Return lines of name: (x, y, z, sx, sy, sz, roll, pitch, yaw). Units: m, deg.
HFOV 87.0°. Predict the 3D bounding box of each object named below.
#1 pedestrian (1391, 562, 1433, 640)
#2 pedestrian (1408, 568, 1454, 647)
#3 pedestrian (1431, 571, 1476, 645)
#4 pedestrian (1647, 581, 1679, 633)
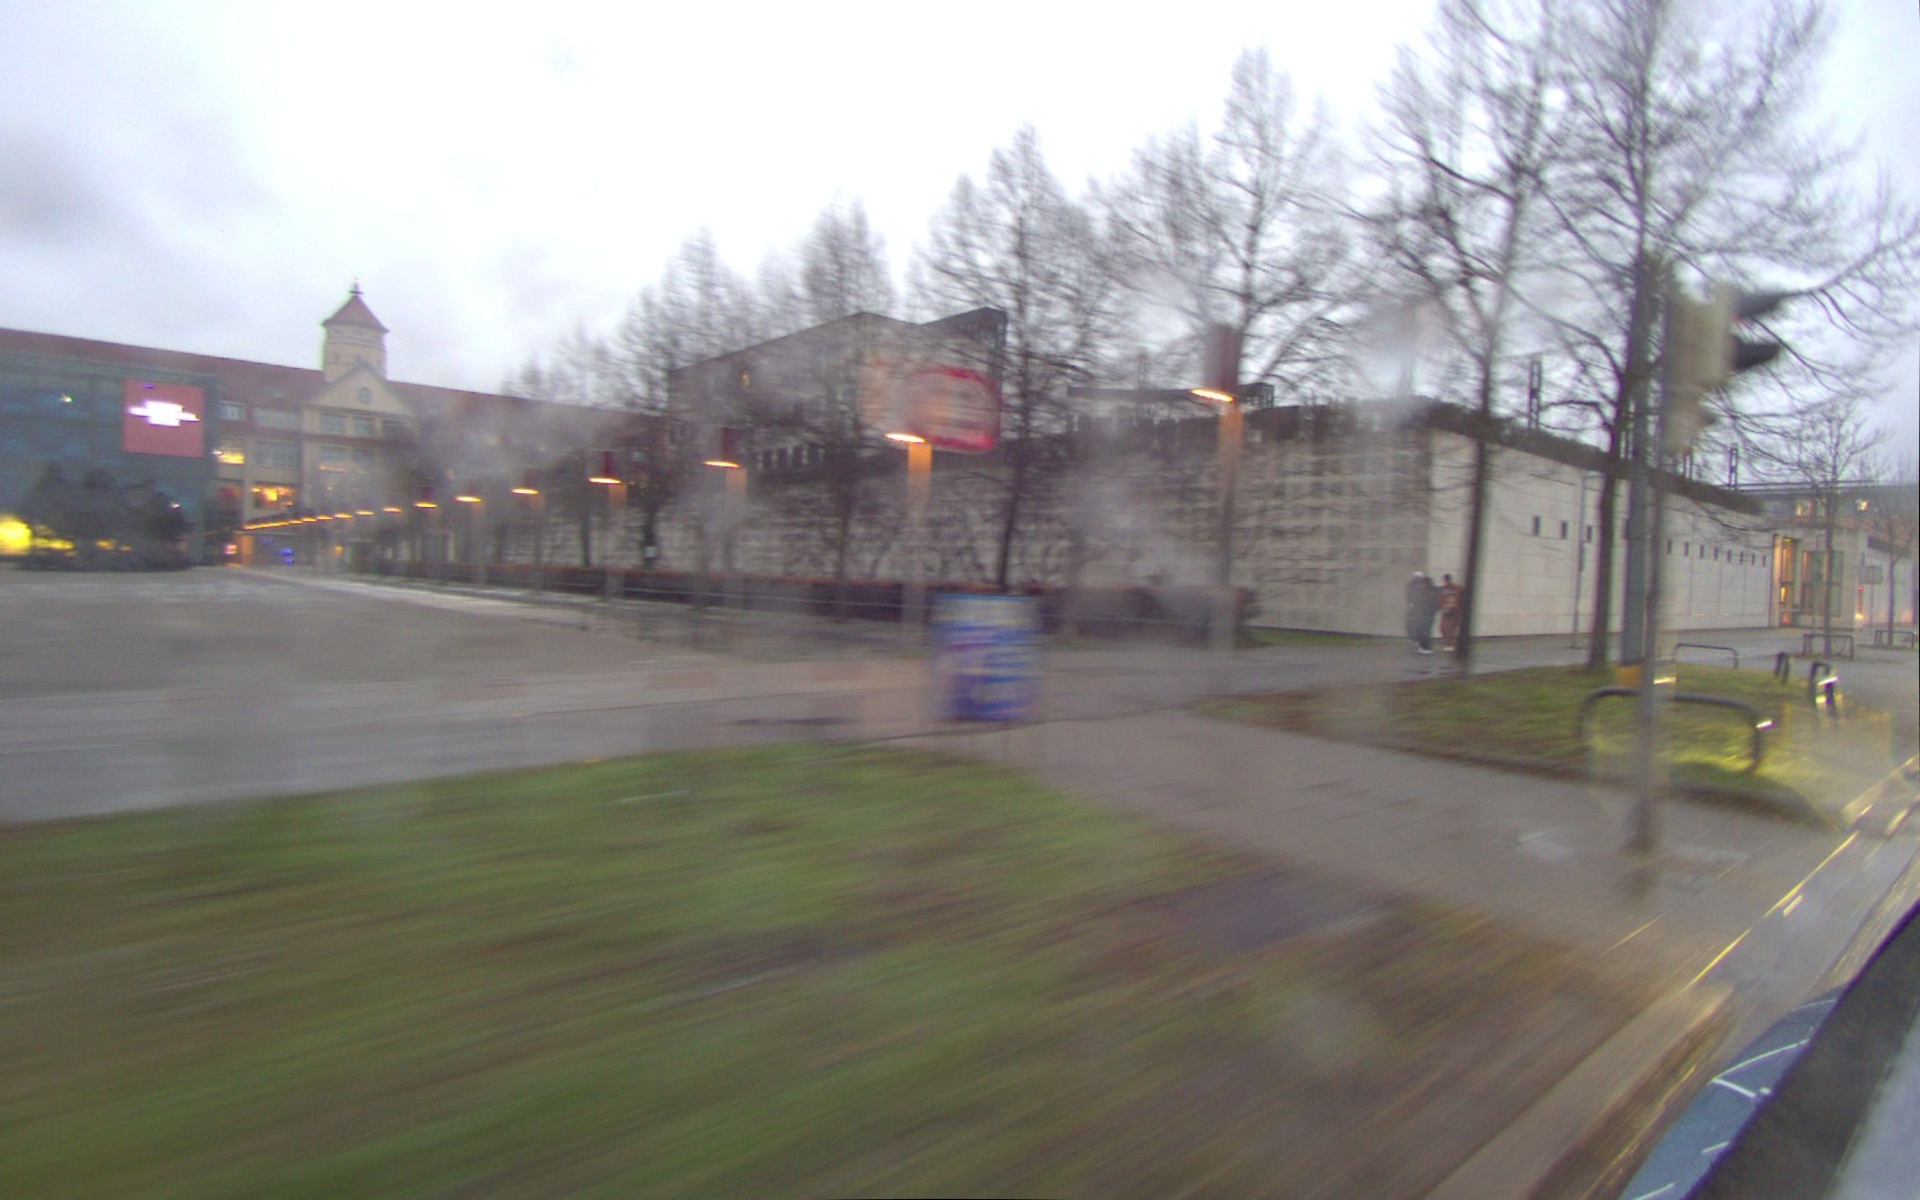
pedestrian: (10.685, 0.016, 23.919, 0.602, 1.800, 0.676, 0, 0, -27)
pedestrian: (10.015, 0.160, 21.530, 0.601, 1.646, 0.676, 0, 0, -25)
pedestrian: (11.087, 0.175, 22.736, 0.602, 1.632, 0.676, 0, 0, -27)
pedestrian: (23.030, 0.215, 33.155, 0.667, 1.675, 0.979, 3, 3, 44)
